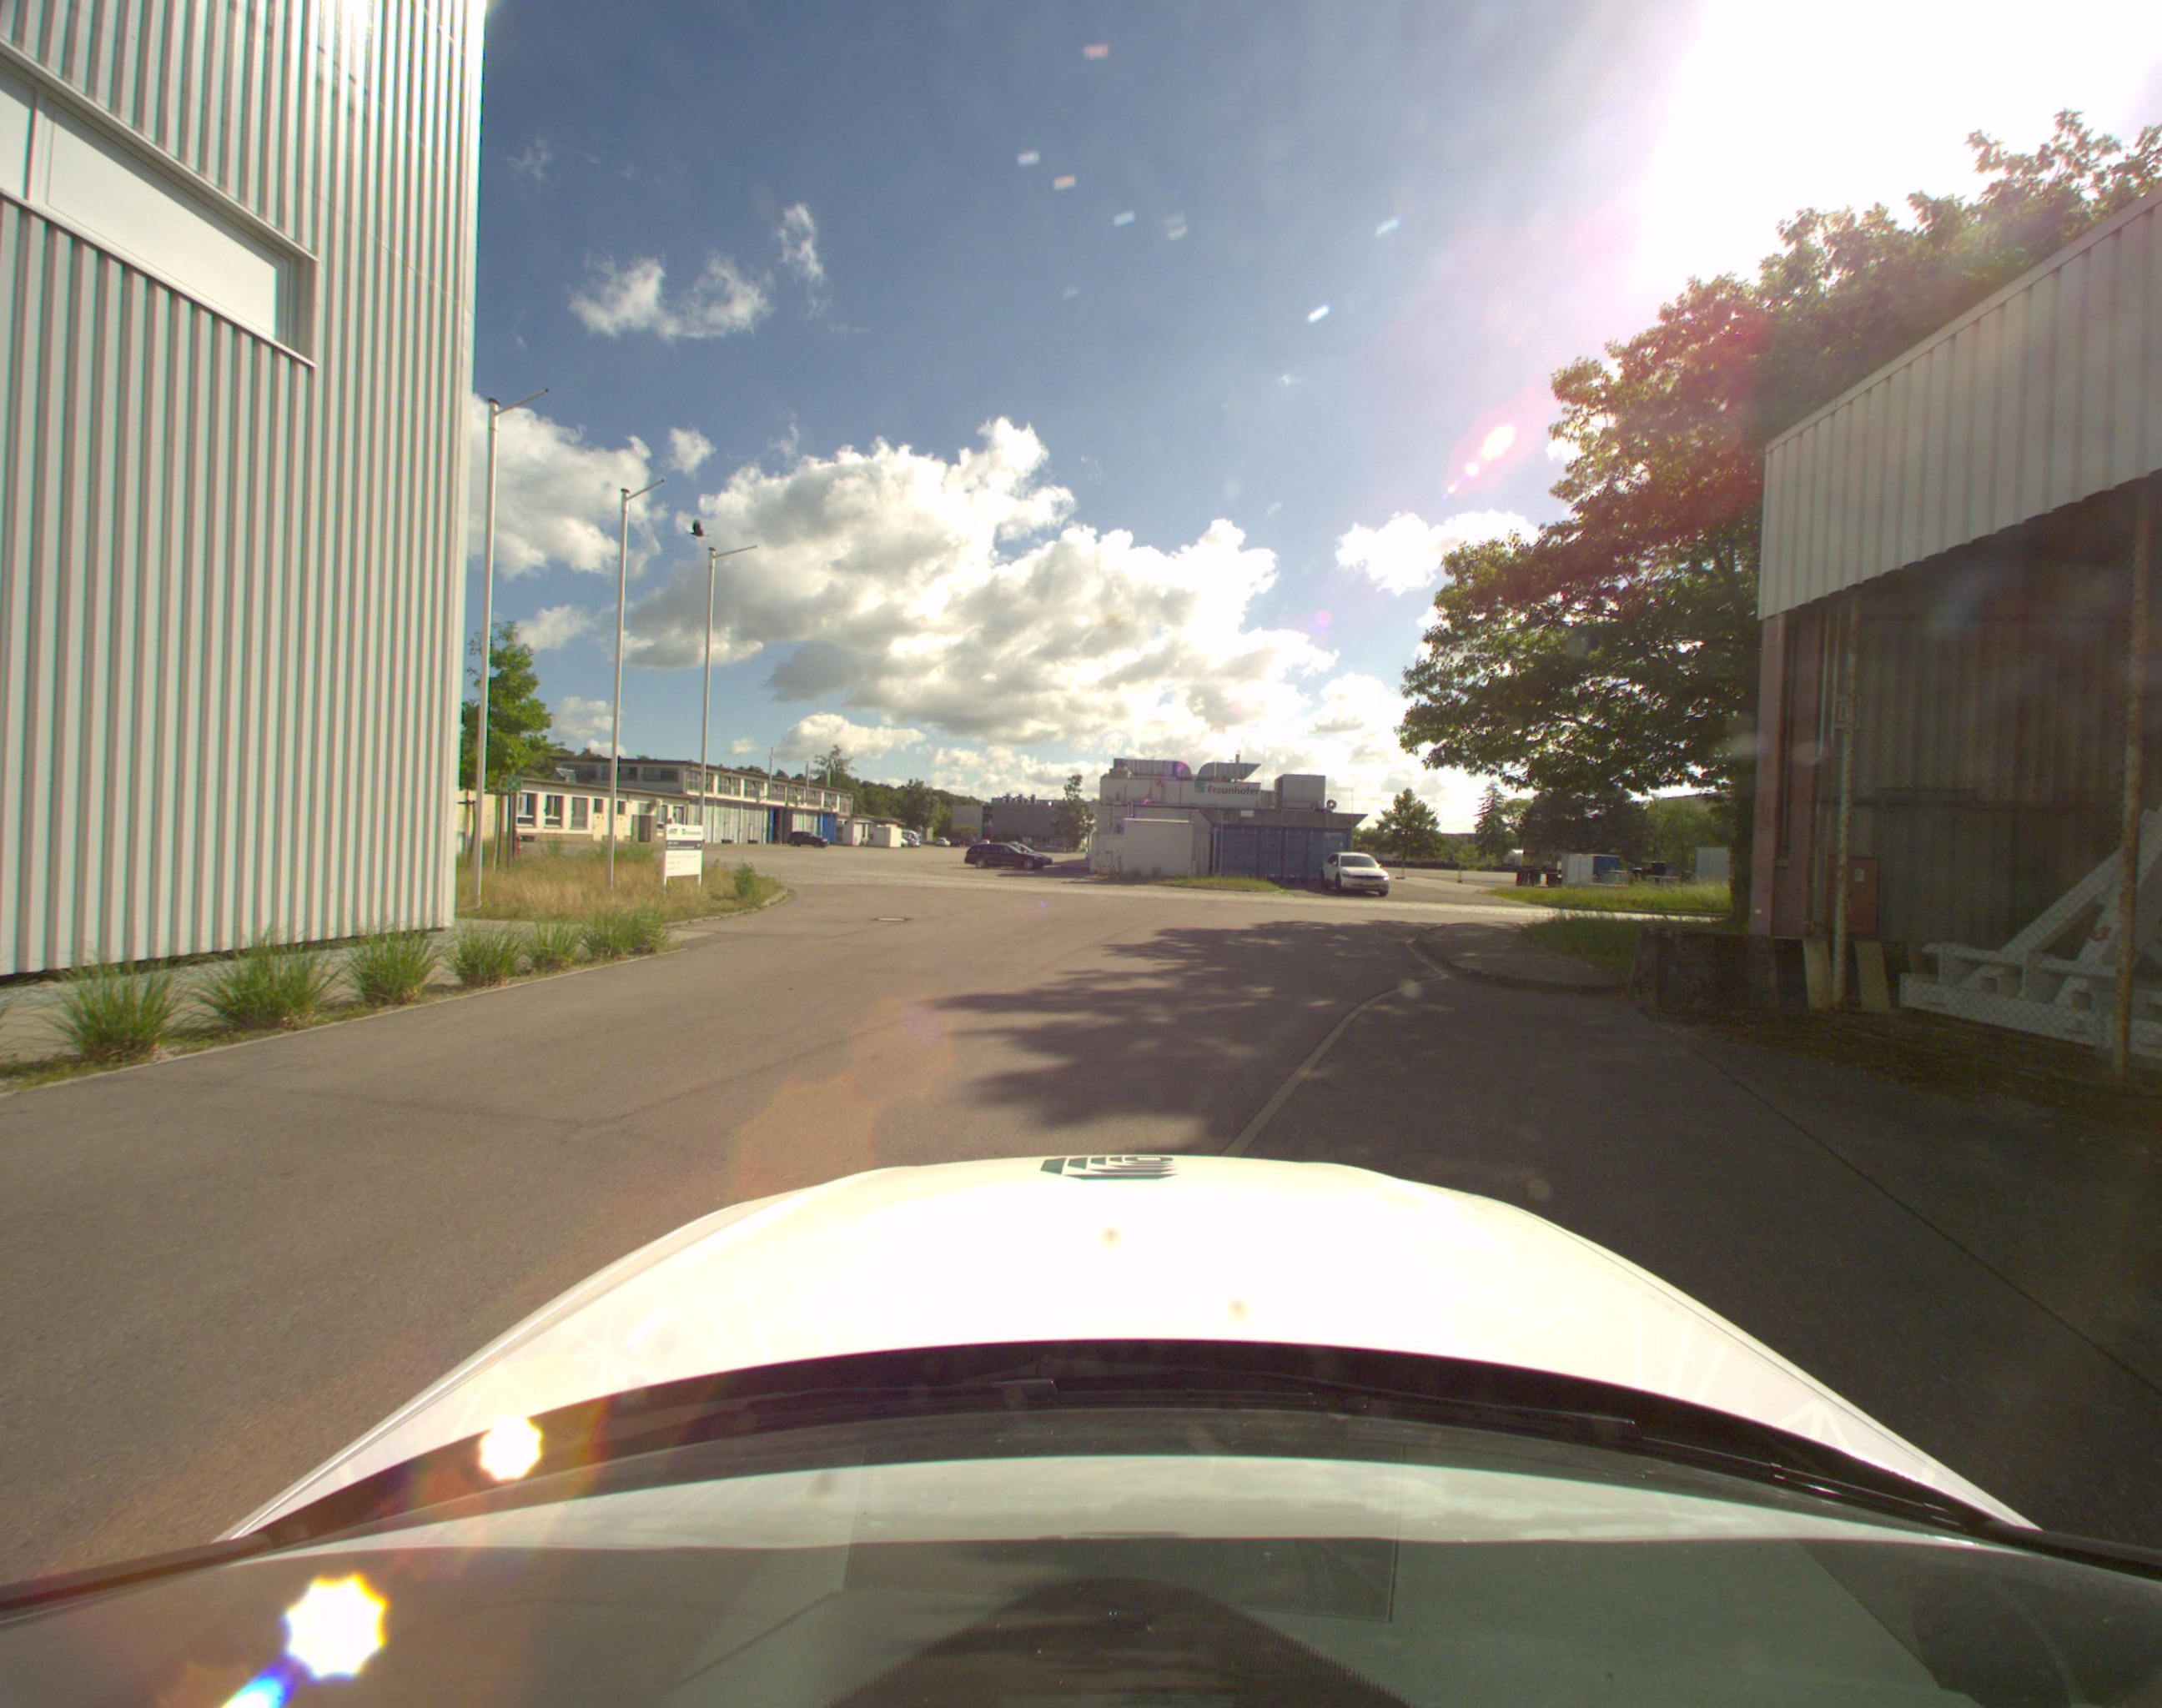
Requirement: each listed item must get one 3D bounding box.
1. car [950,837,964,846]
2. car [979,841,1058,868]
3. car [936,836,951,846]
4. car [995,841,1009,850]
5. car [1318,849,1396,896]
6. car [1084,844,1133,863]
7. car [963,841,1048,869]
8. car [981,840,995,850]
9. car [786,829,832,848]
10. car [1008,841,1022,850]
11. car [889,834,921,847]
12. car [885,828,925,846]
[{"bbox_3d":[-22.128,-2.169,145.407,1.871,1.537,4.036,0,0,0],"label":"car"},{"bbox_3d":[-3.783,0.042,50.087,4.508,1.443,1.906,2,-1,5],"label":"car"},{"bbox_3d":[-24.552,-2.252,145.717,1.840,1.668,4.133,0,0,0],"label":"car"},{"bbox_3d":[-14.051,-1.561,144.865,1.870,1.537,4.039,0,0,3],"label":"car"},{"bbox_3d":[11.079,0.690,32.985,1.971,1.593,4.347,2,2,5],"label":"car"},{"bbox_3d":[2.504,-0.031,74.189,4.259,1.569,1.990,2,-1,5],"label":"car"},{"bbox_3d":[-4.318,0.058,46.856,4.508,1.443,1.990,2,-1,5],"label":"car"},{"bbox_3d":[-16.584,-1.656,145.217,1.870,1.689,4.039,0,0,3],"label":"car"},{"bbox_3d":[-28.623,-1.658,85.869,4.144,1.665,1.785,4,0,3],"label":"car"},{"bbox_3d":[-11.720,-1.545,144.903,1.870,1.537,4.039,0,0,3],"label":"car"},{"bbox_3d":[-25.723,-1.997,119.232,4.086,1.630,1.812,3,0,9],"label":"car"},{"bbox_3d":[-26.410,-2.499,122.240,5.227,2.441,2.055,3,0,9],"label":"car"}]
